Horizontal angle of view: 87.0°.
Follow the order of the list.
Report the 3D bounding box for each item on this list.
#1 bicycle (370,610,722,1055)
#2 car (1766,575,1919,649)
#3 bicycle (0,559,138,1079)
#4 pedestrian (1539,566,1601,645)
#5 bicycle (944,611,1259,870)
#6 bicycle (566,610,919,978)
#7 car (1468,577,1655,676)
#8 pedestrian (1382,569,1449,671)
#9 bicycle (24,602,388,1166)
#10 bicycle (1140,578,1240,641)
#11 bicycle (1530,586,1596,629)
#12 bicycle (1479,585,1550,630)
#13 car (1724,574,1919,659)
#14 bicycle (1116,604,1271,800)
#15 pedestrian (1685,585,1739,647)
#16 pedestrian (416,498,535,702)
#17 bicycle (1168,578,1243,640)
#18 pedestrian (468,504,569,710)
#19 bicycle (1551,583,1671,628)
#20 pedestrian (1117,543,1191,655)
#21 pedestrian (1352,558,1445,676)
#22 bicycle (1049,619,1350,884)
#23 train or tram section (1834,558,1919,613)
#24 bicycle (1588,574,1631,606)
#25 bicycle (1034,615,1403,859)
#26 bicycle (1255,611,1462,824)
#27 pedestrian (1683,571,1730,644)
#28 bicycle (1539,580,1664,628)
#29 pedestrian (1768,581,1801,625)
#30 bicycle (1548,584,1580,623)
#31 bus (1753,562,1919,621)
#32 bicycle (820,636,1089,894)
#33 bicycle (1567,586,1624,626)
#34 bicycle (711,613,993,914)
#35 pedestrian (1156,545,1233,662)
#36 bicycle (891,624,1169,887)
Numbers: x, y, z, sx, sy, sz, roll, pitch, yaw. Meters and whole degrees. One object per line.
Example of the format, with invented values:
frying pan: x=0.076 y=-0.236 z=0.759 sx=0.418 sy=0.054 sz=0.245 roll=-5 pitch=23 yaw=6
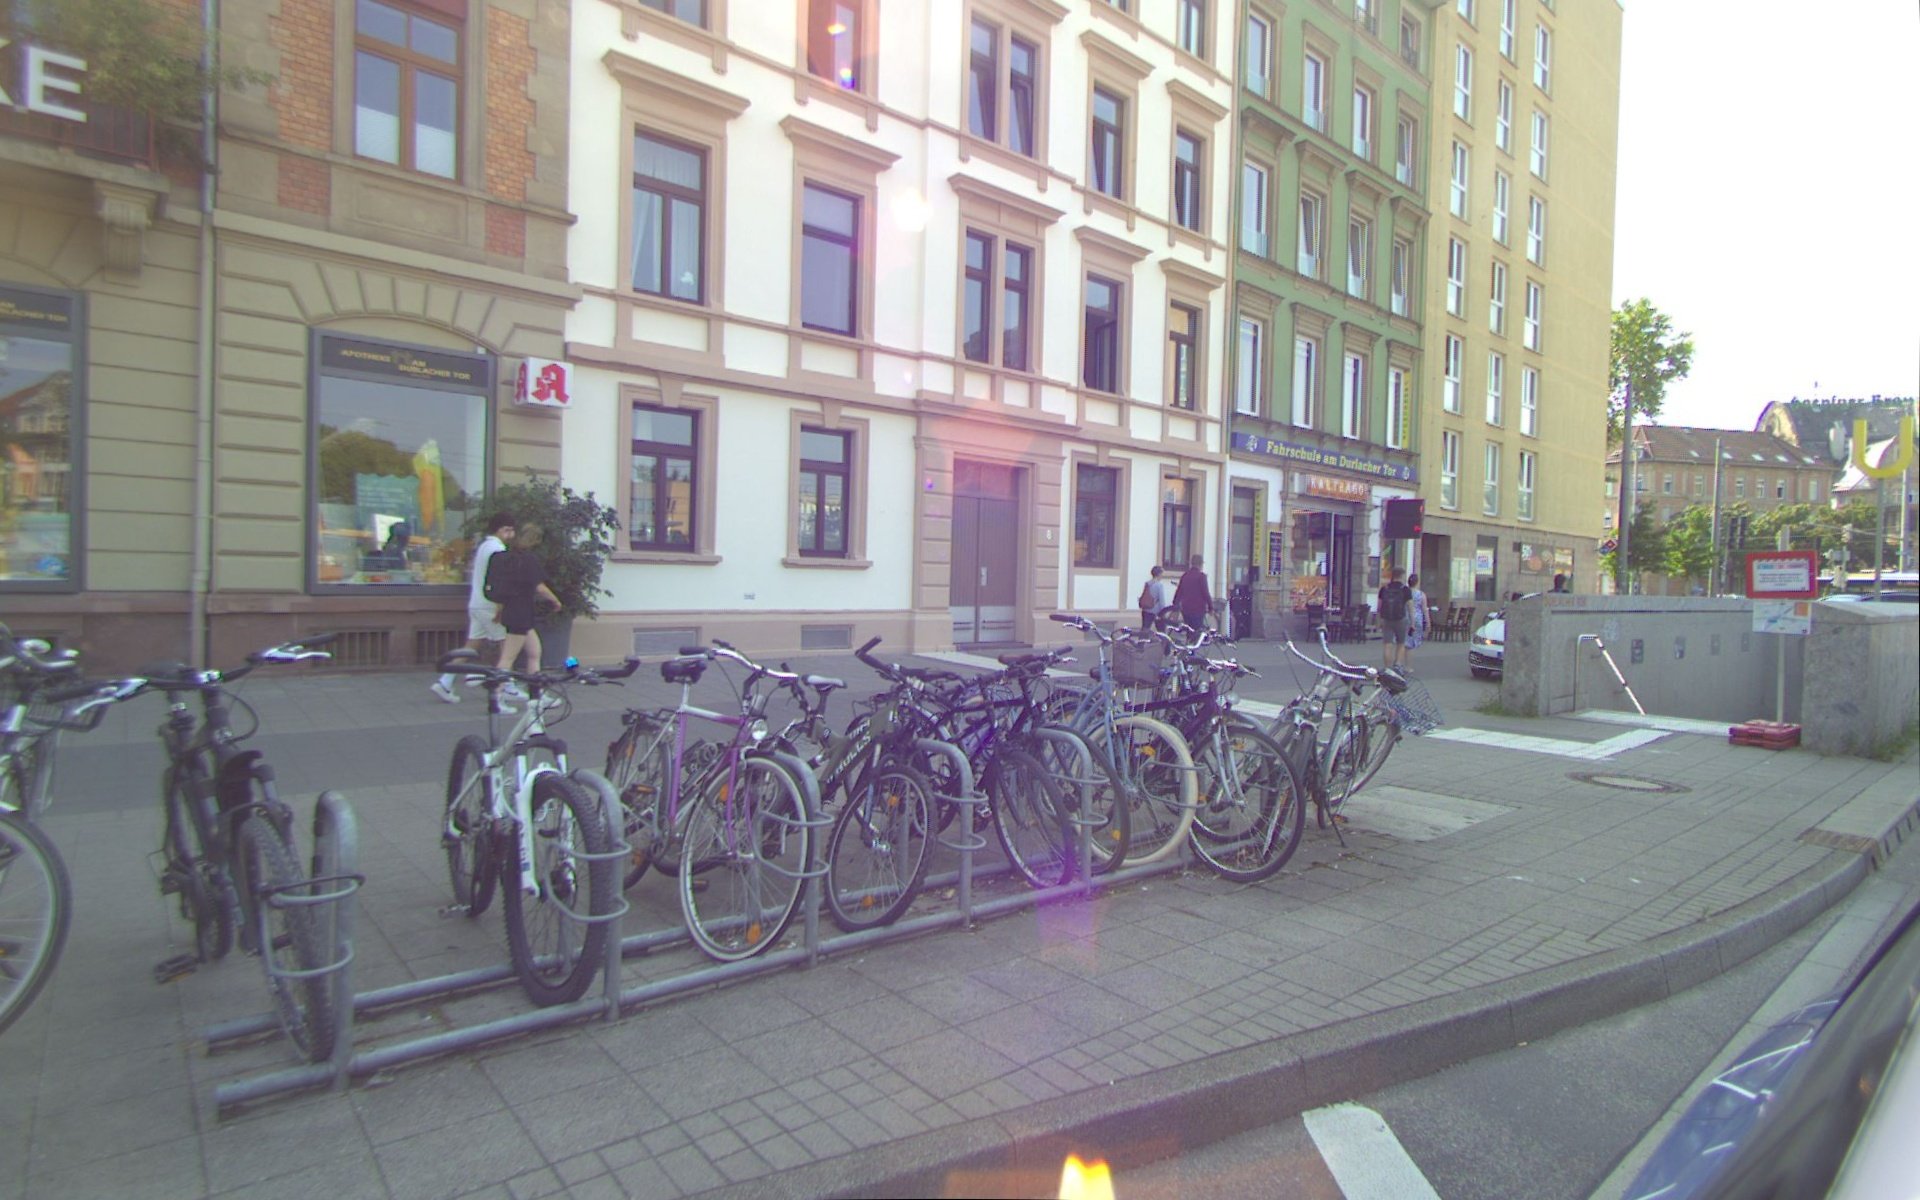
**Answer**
bicycle: x=-1.483 y=0.605 z=3.441 sx=0.632 sy=1.085 sz=1.661 roll=0 pitch=1 yaw=-40
car: x=23.034 y=0.291 z=25.058 sx=4.319 sy=1.708 sz=1.982 roll=2 pitch=1 yaw=8
bicycle: x=-2.903 y=0.496 z=2.961 sx=0.631 sy=1.231 sz=1.679 roll=0 pitch=1 yaw=-35
pedestrian: x=12.824 y=0.091 z=21.312 sx=0.841 sy=1.601 sz=0.966 roll=1 pitch=2 yaw=16
bicycle: x=0.646 y=0.628 z=5.277 sx=0.358 sy=1.085 sz=1.839 roll=2 pitch=0 yaw=-40
bicycle: x=-0.928 y=0.610 z=3.966 sx=0.632 sy=1.085 sz=1.661 roll=2 pitch=0 yaw=-40
car: x=10.165 y=0.412 z=17.022 sx=3.556 sy=1.458 sz=1.634 roll=1 pitch=1 yaw=-41
pedestrian: x=7.529 y=0.303 z=16.762 sx=0.841 sy=1.601 sz=0.966 roll=1 pitch=2 yaw=16
bicycle: x=-2.124 y=0.574 z=2.948 sx=0.631 sy=1.085 sz=1.783 roll=0 pitch=1 yaw=-35
bicycle: x=4.587 y=0.210 z=20.033 sx=2.425 sy=1.161 sz=0.481 roll=3 pitch=0 yaw=-39
bicycle: x=18.853 y=0.229 z=31.624 sx=2.377 sy=1.254 sz=0.941 roll=1 pitch=1 yaw=-38
bicycle: x=16.509 y=0.226 z=30.093 sx=2.377 sy=1.254 sz=0.941 roll=1 pitch=1 yaw=-38
car: x=20.287 y=0.345 z=22.661 sx=4.588 sy=1.735 sz=2.040 roll=2 pitch=1 yaw=8
bicycle: x=1.505 y=0.607 z=6.782 sx=0.679 sy=1.134 sz=1.563 roll=1 pitch=0 yaw=1
pedestrian: x=20.304 y=0.410 z=27.351 sx=0.841 sy=1.601 sz=0.966 roll=1 pitch=2 yaw=16
pedestrian: x=-4.564 y=-0.022 z=9.535 sx=0.864 sy=1.816 sz=0.601 roll=0 pitch=4 yaw=-41
bicycle: x=4.936 y=0.170 z=20.296 sx=1.815 sy=1.198 sz=0.459 roll=0 pitch=2 yaw=-41
pedestrian: x=-3.989 y=0.045 z=9.146 sx=0.667 sy=1.771 sz=0.578 roll=0 pitch=4 yaw=-40
bicycle: x=22.511 y=0.166 z=35.068 sx=3.314 sy=1.422 sz=0.900 roll=2 pitch=1 yaw=14
pedestrian: x=3.233 y=-0.025 z=16.846 sx=1.000 sy=1.796 sz=0.685 roll=2 pitch=1 yaw=-41
pedestrian: x=6.812 y=0.258 z=15.732 sx=0.952 sy=1.750 sz=0.853 roll=3 pitch=1 yaw=-34
bicycle: x=1.128 y=0.665 z=5.069 sx=0.358 sy=1.085 sz=1.540 roll=2 pitch=0 yaw=-40
train or tram section: x=64.486 y=-0.923 z=66.569 sx=2.544 sy=3.604 sz=12.231 roll=2 pitch=2 yaw=-4
bicycle: x=26.309 y=-0.410 z=40.972 sx=2.392 sy=1.254 sz=0.793 roll=0 pitch=2 yaw=-41
bicycle: x=1.346 y=0.667 z=5.714 sx=0.375 sy=1.085 sz=2.123 roll=2 pitch=0 yaw=-44
bicycle: x=2.387 y=0.629 z=5.992 sx=1.479 sy=1.084 sz=0.476 roll=0 pitch=2 yaw=-41
pedestrian: x=18.052 y=0.177 z=24.481 sx=0.926 sy=1.706 sz=0.672 roll=1 pitch=2 yaw=-41
bicycle: x=21.160 y=0.108 z=33.471 sx=3.314 sy=1.422 sz=0.900 roll=2 pitch=1 yaw=14
pedestrian: x=31.725 y=0.098 z=38.938 sx=0.934 sy=1.628 sz=0.792 roll=-1 pitch=3 yaw=-43
bicycle: x=20.169 y=0.111 z=33.797 sx=1.796 sy=1.254 sz=0.409 roll=0 pitch=1 yaw=-43
bus: x=51.413 y=-0.493 z=56.667 sx=2.677 sy=3.102 sz=12.107 roll=2 pitch=1 yaw=-11
bicycle: x=-0.089 y=0.690 z=4.793 sx=0.358 sy=0.964 sz=1.540 roll=2 pitch=0 yaw=-40
bicycle: x=21.024 y=0.188 z=33.494 sx=1.514 sy=1.254 sz=0.593 roll=1 pitch=1 yaw=-8
bicycle: x=-0.548 y=0.631 z=4.567 sx=0.463 sy=1.085 sz=1.540 roll=2 pitch=0 yaw=-40
pedestrian: x=3.737 y=0.051 z=16.127 sx=1.000 sy=1.796 sz=0.685 roll=2 pitch=1 yaw=-41
bicycle: x=0.274 y=0.665 z=4.914 sx=0.358 sy=1.029 sz=1.540 roll=2 pitch=0 yaw=-40
